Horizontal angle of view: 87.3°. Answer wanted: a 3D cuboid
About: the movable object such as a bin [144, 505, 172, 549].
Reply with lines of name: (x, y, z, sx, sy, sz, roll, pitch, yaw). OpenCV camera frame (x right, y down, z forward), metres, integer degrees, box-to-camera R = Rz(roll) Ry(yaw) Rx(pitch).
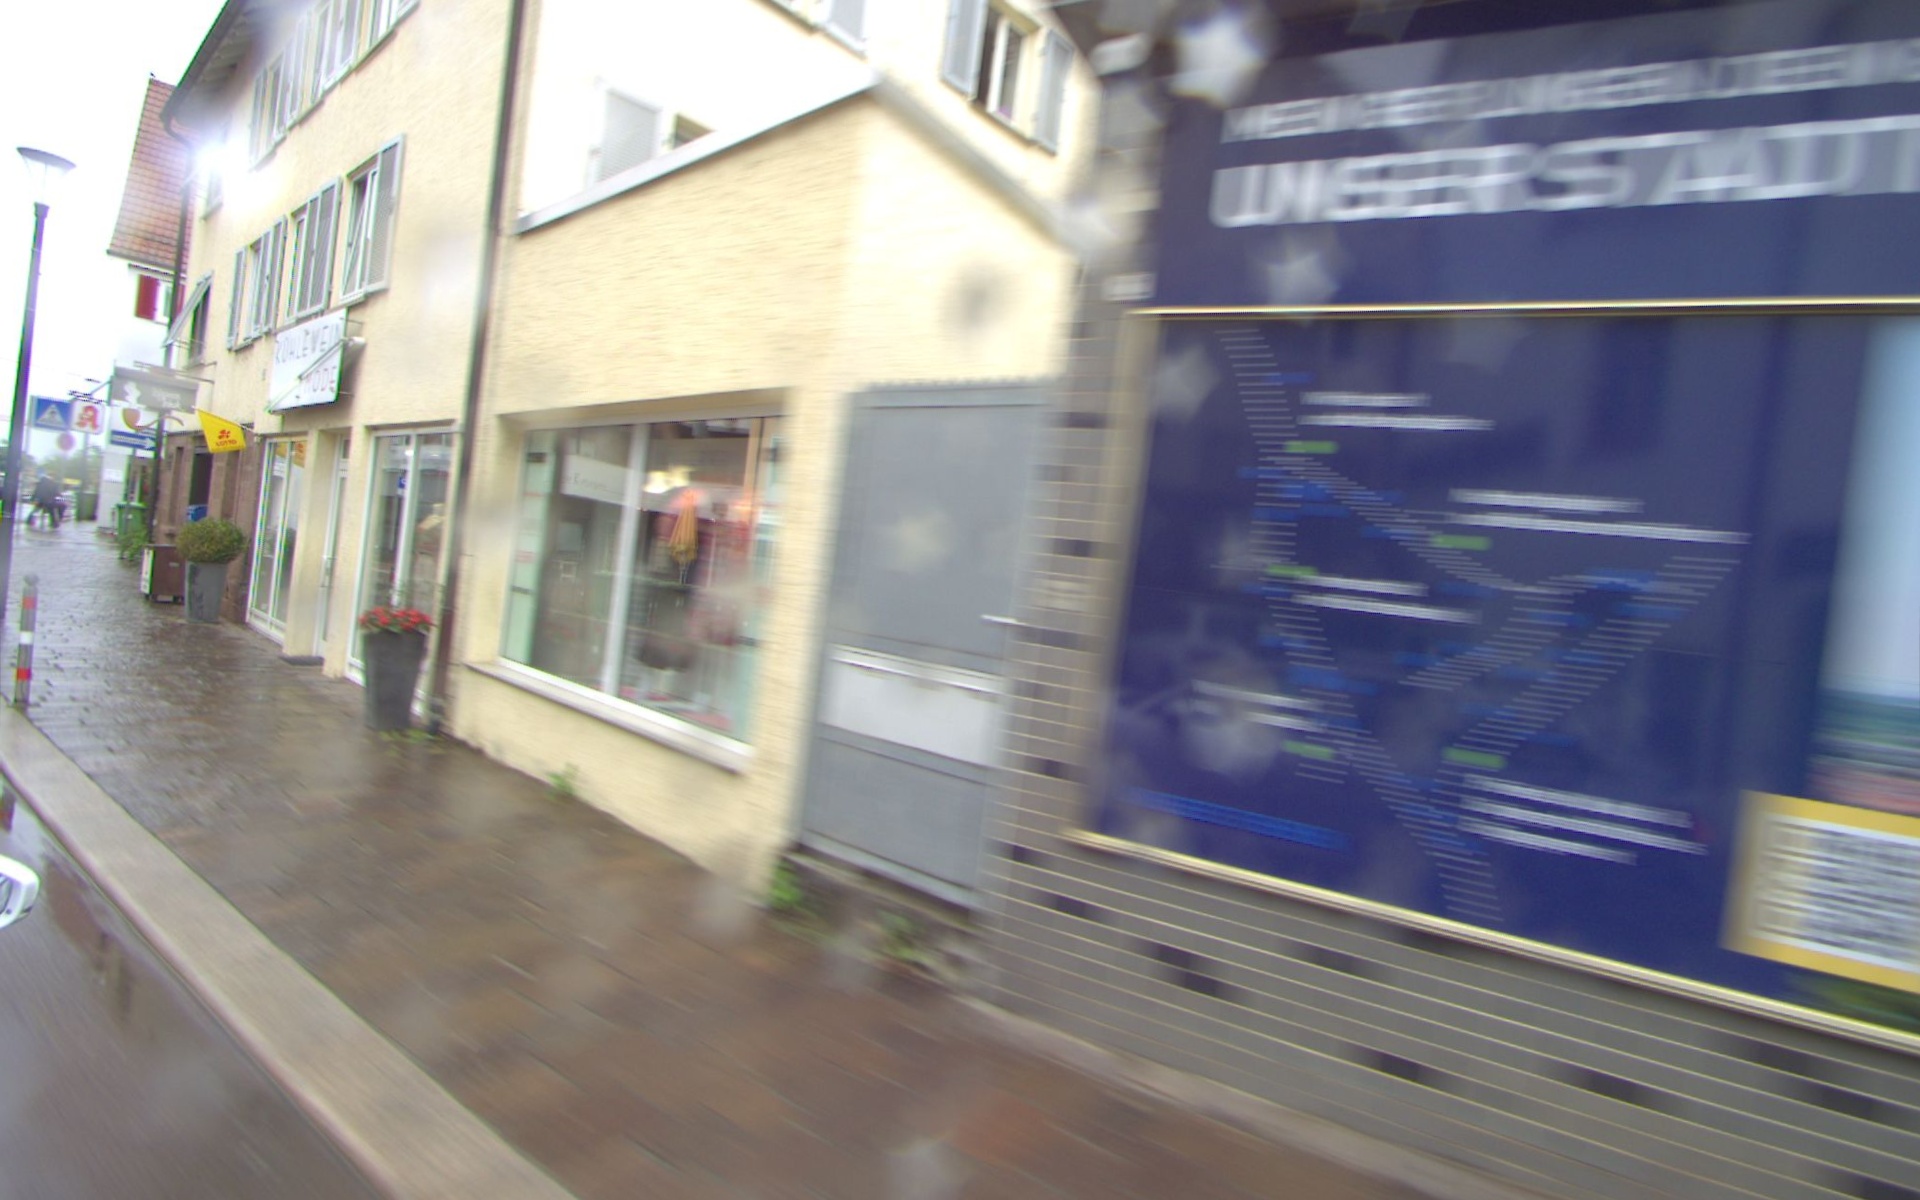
movable object such as a bin: (-20.818, -1.898, 26.126, 0.498, 1.070, 0.543, 4, 1, -39)

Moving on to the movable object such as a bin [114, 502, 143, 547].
movable object such as a bin: (-21.275, -1.923, 25.754, 0.498, 1.070, 0.543, 4, 1, -39)

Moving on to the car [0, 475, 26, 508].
car: (-61.205, -6.993, 64.355, 1.717, 1.846, 4.379, 8, -2, -40)

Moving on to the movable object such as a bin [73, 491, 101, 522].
movable object such as a bin: (-34.116, -3.642, 39.325, 0.673, 1.099, 0.711, 7, 0, -37)

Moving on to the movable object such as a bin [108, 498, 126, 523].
movable object such as a bin: (-48.875, -5.192, 58.313, 0.634, 1.305, 0.626, 7, -1, -33)

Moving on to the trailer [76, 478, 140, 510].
trailer: (-106.484, -13.243, 125.809, 5.765, 2.982, 1.976, 8, -2, -44)

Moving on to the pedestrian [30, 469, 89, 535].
pedestrian: (-26.418, -2.867, 29.536, 1.172, 1.719, 1.164, 5, 2, -41)

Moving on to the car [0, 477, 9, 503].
car: (-57.739, -6.621, 59.641, 1.675, 1.405, 3.782, 8, -2, -41)

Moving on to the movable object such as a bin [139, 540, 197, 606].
movable object such as a bin: (-11.451, -0.394, 14.544, 0.544, 0.847, 0.898, 4, 3, -43)

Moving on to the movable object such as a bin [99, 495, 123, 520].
movable object such as a bin: (-43.593, -4.762, 51.656, 0.800, 1.144, 0.853, 7, -1, -40)
